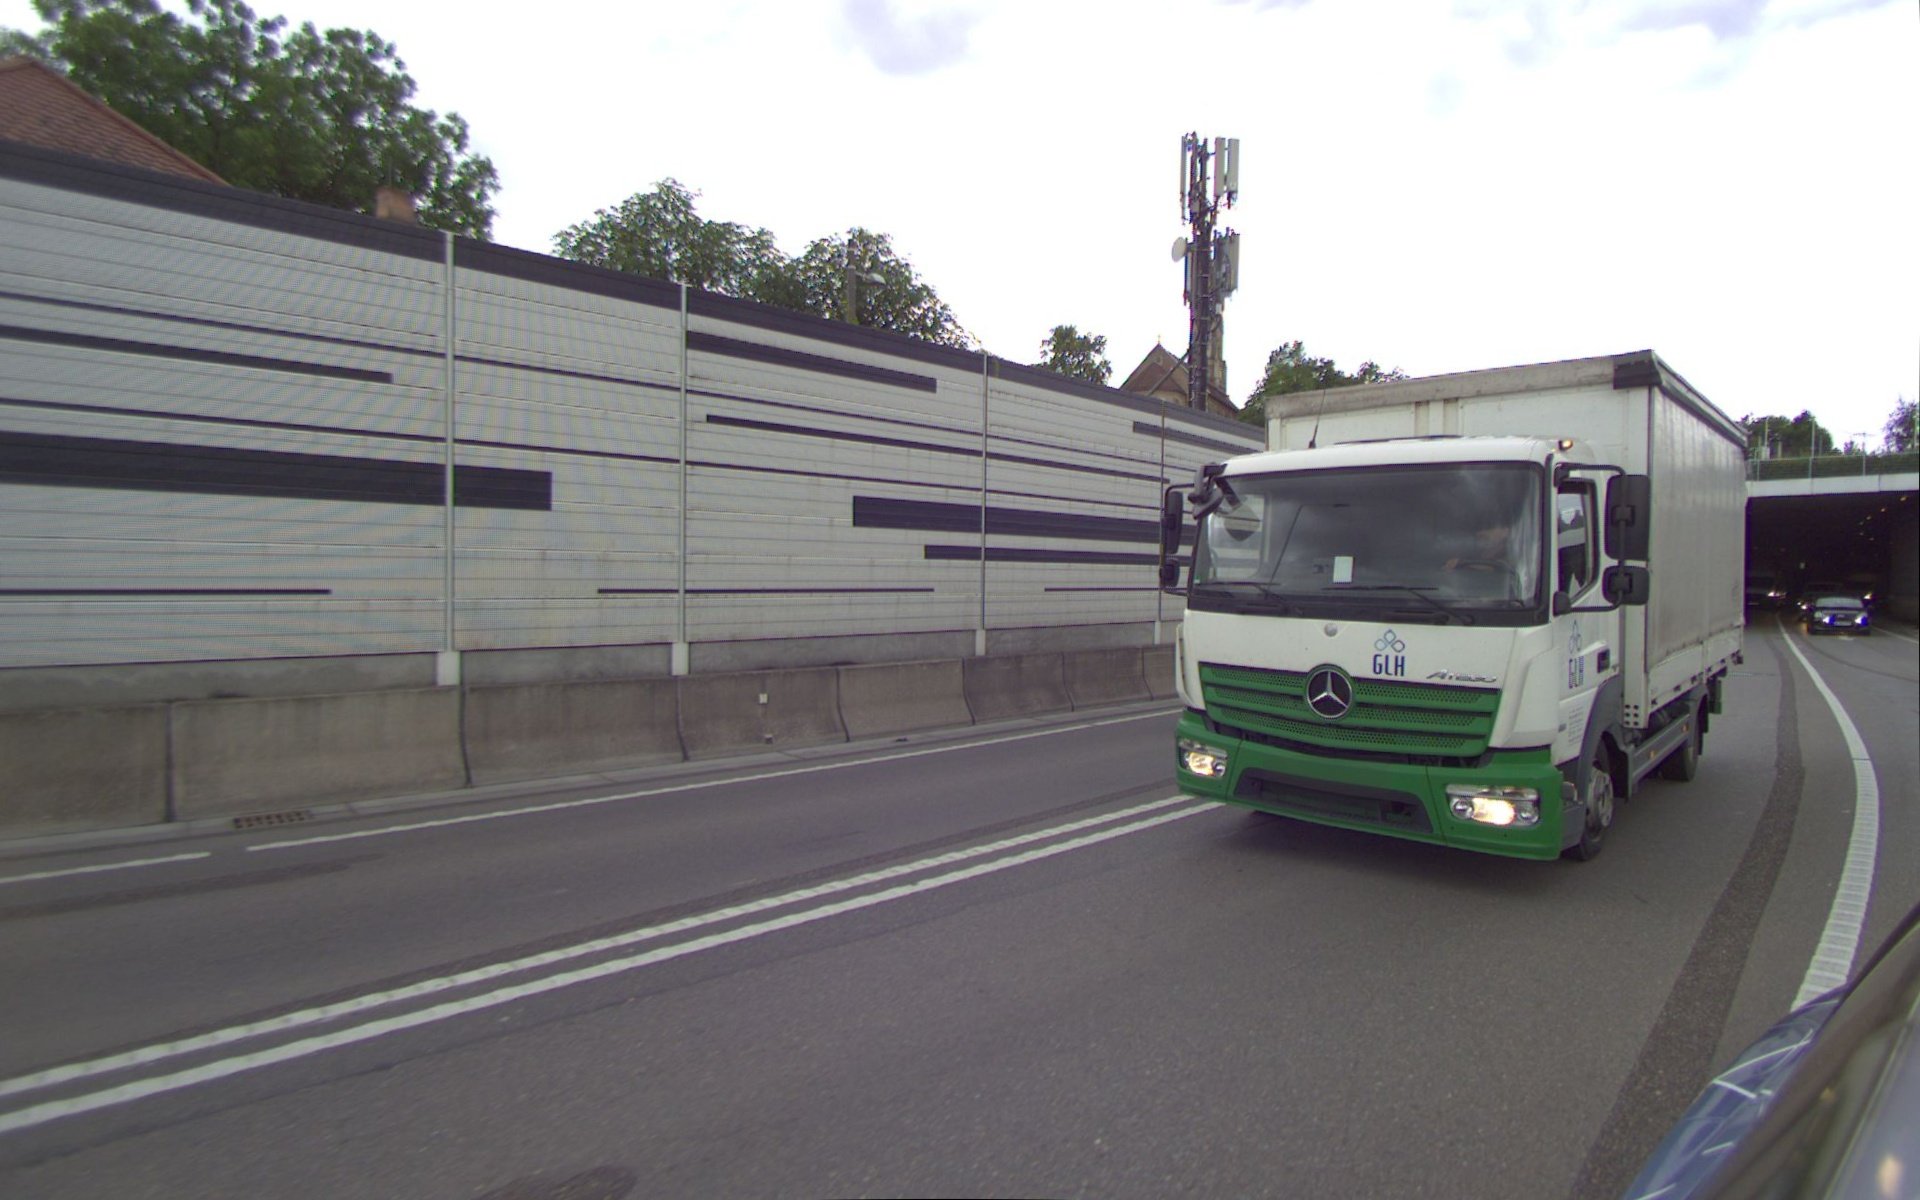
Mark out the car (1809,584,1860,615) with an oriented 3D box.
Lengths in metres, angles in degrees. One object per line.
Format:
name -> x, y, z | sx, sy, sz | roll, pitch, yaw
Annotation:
car -> 43.736, -0.026, 50.663 | 1.820, 1.464, 3.943 | 0, 0, 39

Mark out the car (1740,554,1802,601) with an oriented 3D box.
car -> 52.009, -1.474, 64.842 | 2.553, 2.802, 7.238 | 3, 3, 43

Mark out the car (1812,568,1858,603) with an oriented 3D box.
car -> 53.050, -0.875, 61.367 | 1.993, 2.039, 3.938 | 1, 1, 43

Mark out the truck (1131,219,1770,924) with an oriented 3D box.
truck -> 4.566, -0.186, 8.290 | 2.629, 3.280, 7.300 | -1, 0, 43

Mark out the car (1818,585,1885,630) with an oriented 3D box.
car -> 32.543, 0.221, 36.908 | 1.717, 1.482, 3.939 | 3, 3, 43
